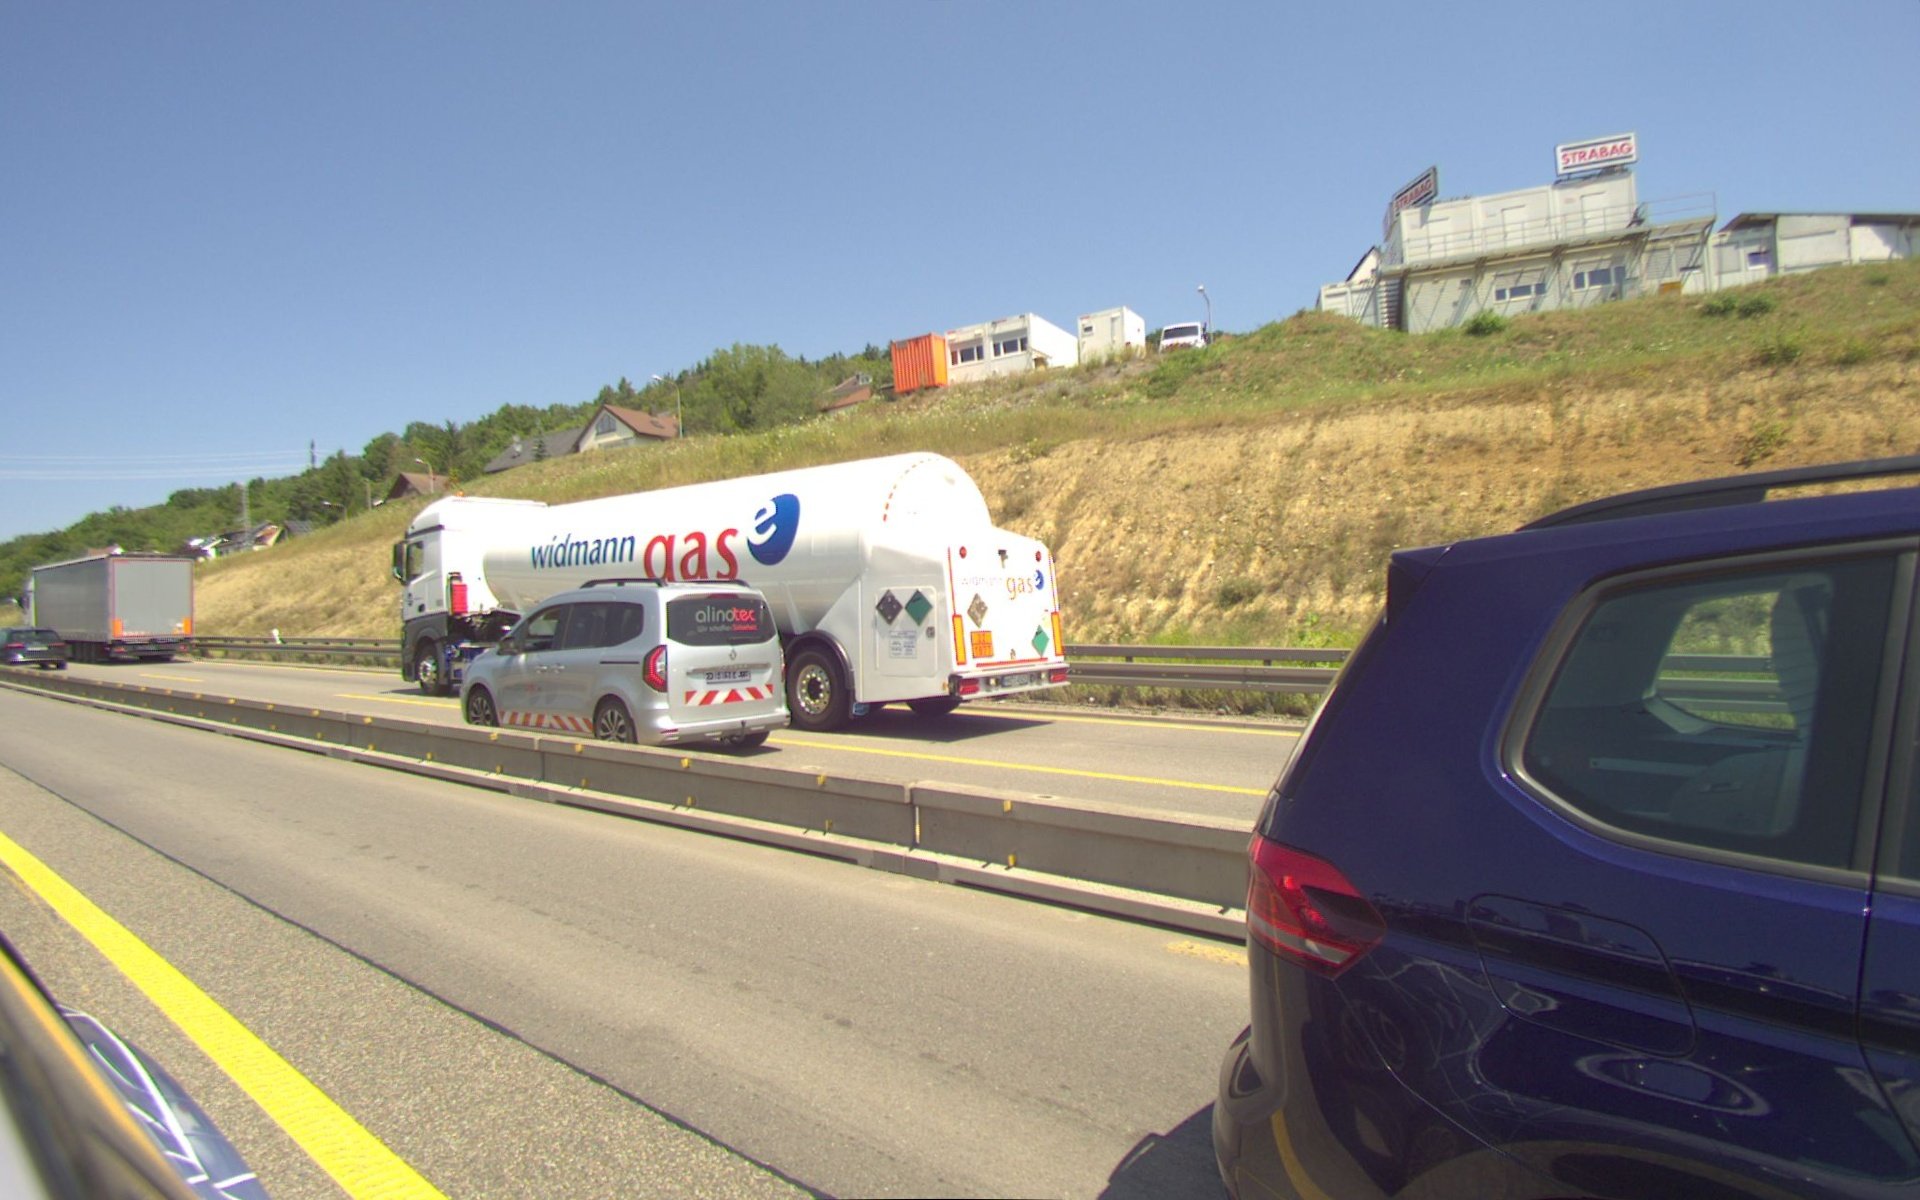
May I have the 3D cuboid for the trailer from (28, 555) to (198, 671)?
[{"bbox_3d":[-34.577,0.622,40.974,13.686,4.055,2.672,-2,-1,39],"label":"trailer"}]

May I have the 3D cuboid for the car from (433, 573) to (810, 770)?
[{"bbox_3d":[-3.872,0.701,11.195,4.477,1.758,1.861,-2,-2,39],"label":"car"}]

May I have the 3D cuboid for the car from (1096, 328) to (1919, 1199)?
[{"bbox_3d":[2.578,0.516,0.826,4.649,1.731,1.757,-3,-1,41],"label":"car"}]

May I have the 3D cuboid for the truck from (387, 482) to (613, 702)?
[{"bbox_3d":[-9.016,-0.105,19.795,3.763,3.830,2.565,-2,-1,39],"label":"truck"}]

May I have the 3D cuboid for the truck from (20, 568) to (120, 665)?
[{"bbox_3d":[-39.745,0.728,45.174,3.950,4.080,2.672,-2,-1,39],"label":"truck"}]

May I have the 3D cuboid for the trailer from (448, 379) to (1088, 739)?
[{"bbox_3d":[-3.835,-0.301,15.545,11.905,3.830,2.564,-2,-1,39],"label":"trailer"}]

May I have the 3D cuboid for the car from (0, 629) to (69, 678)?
[{"bbox_3d":[-31.774,1.767,34.160,4.714,1.469,1.762,-1,0,39],"label":"car"}]
